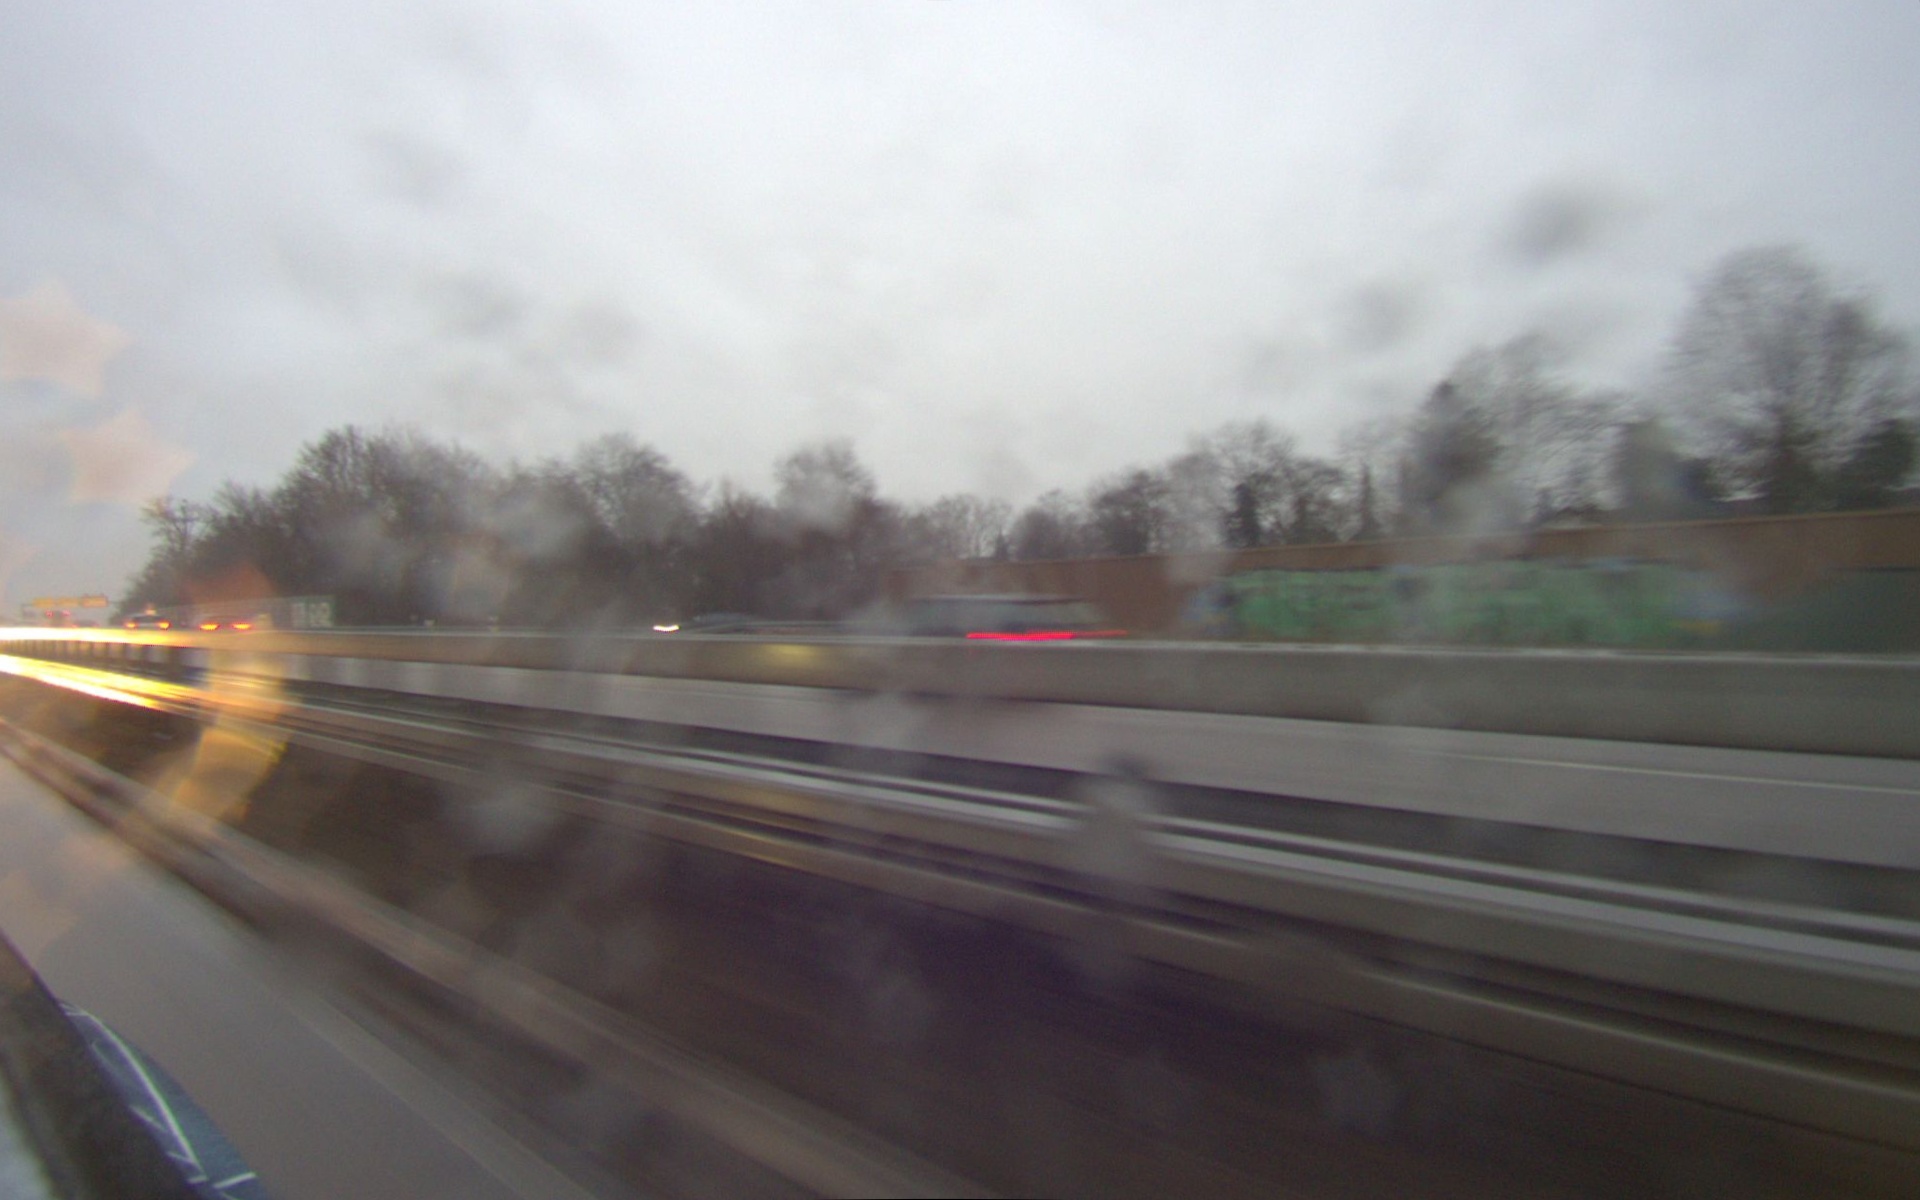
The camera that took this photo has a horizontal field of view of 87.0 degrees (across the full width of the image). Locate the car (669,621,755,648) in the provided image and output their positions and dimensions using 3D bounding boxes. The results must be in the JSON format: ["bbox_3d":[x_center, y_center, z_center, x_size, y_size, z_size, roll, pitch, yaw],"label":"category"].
[{"bbox_3d":[-11.926,1.645,48.710,3.933,1.170,1.808,-1,0,-15],"label":"car"}]

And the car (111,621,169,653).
[{"bbox_3d":[-46.100,2.054,56.839,4.644,1.639,1.846,-1,0,42],"label":"car"}]

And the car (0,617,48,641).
[{"bbox_3d":[-60.490,1.877,65.387,4.644,1.460,1.846,-1,0,42],"label":"car"}]

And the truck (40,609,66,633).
[{"bbox_3d":[-158.420,3.636,176.765,3.042,3.886,9.377,-1,0,-44],"label":"truck"}]

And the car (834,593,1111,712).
[{"bbox_3d":[0.102,0.669,14.287,3.679,1.452,1.680,-1,0,40],"label":"car"}]

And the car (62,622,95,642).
[{"bbox_3d":[-75.095,2.707,86.230,4.179,1.619,1.708,-1,0,43],"label":"car"}]

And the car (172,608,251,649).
[{"bbox_3d":[-32.638,1.215,44.064,4.778,1.639,1.846,-1,0,42],"label":"car"}]

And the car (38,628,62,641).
[{"bbox_3d":[-112.741,4.275,125.364,1.971,1.525,4.286,-1,0,-45],"label":"car"}]
